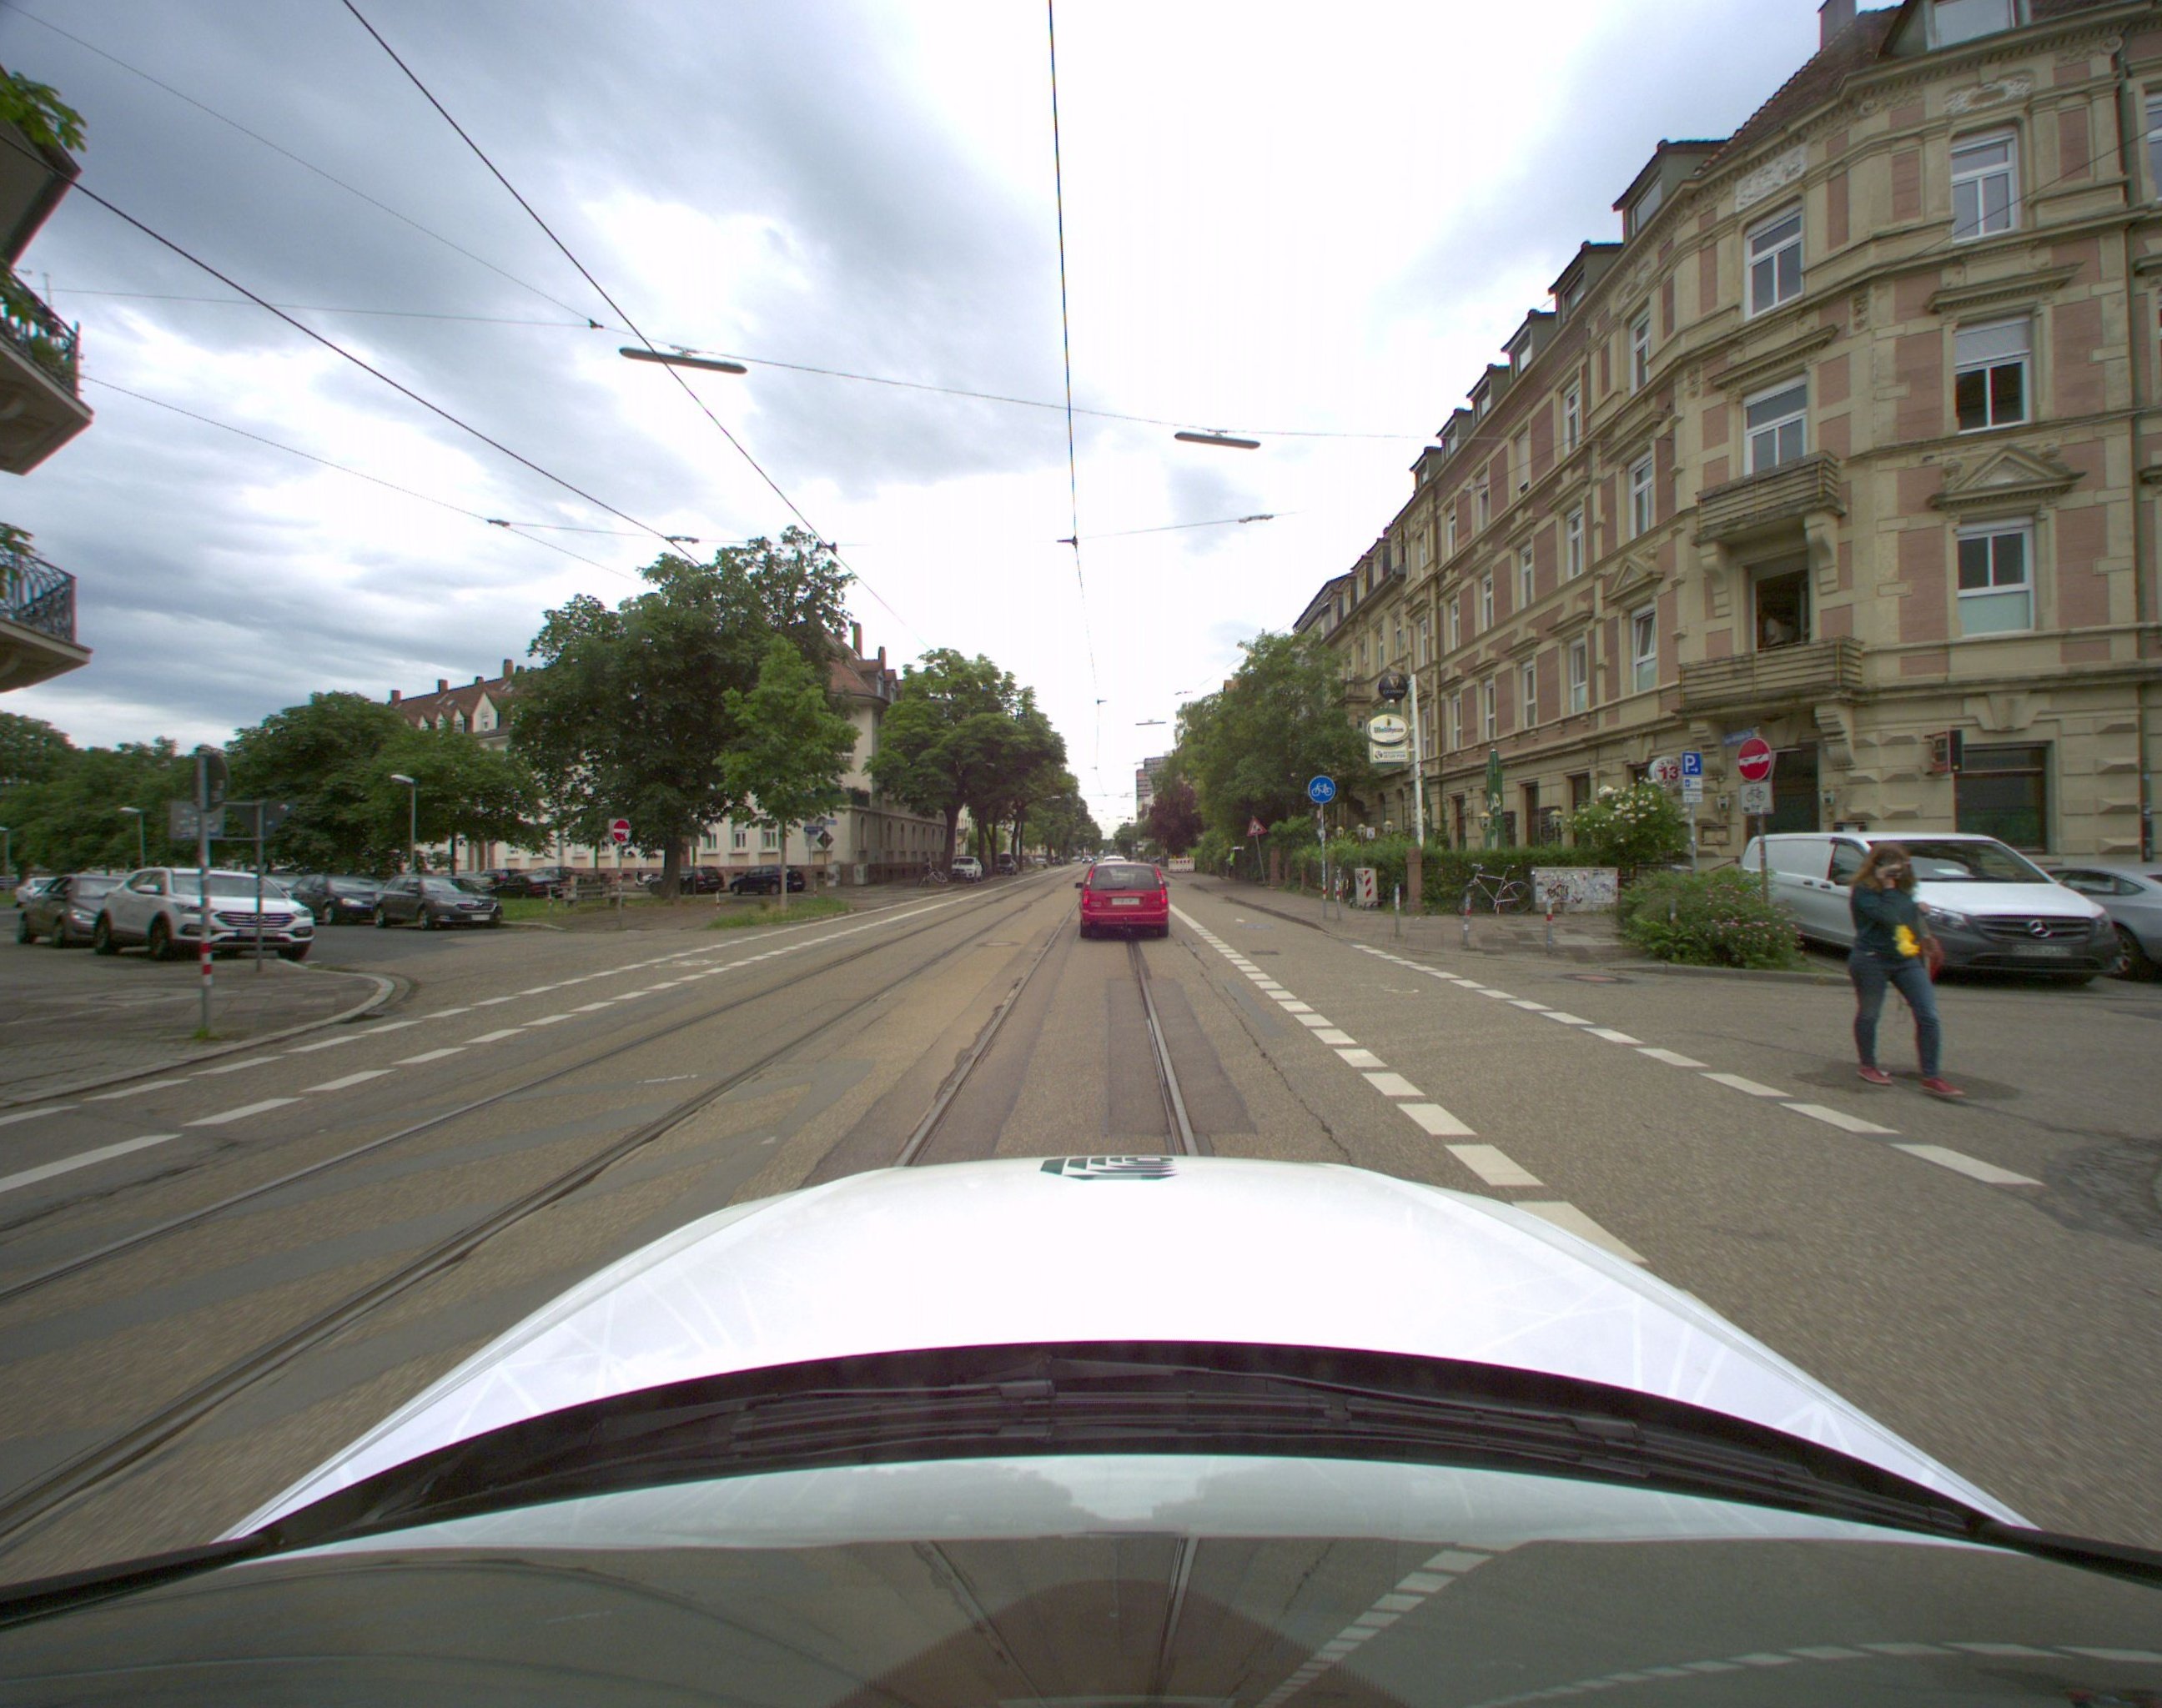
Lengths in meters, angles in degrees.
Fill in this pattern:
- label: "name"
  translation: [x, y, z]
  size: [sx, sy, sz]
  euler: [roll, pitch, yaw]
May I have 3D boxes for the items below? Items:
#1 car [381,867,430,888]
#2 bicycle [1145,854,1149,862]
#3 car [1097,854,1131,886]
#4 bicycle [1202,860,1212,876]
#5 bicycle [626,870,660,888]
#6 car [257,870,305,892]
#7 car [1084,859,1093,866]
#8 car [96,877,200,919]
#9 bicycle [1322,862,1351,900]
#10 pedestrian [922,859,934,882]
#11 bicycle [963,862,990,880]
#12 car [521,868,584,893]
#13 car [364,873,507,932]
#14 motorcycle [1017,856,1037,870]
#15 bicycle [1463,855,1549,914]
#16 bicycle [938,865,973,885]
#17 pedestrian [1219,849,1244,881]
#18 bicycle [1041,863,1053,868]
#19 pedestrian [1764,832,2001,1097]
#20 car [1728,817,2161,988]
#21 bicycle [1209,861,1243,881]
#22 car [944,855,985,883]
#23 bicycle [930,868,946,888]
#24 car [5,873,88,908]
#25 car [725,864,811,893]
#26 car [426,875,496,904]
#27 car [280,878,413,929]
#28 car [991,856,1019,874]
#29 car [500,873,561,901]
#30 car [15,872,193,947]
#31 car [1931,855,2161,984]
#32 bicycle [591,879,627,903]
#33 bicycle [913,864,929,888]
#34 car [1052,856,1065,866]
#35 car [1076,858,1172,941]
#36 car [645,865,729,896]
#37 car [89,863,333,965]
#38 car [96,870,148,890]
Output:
- label: "car"
  translation: [-46.215, 1.603, 55.704]
  size: [3.270, 1.430, 1.397]
  euler: [-1, 0, 28]
- label: "bicycle"
  translation: [11.940, 0.658, 147.440]
  size: [0.549, 1.400, 1.735]
  euler: [-1, 0, 2]
- label: "car"
  translation: [1.801, 0.851, 43.968]
  size: [1.711, 1.625, 3.945]
  euler: [-1, 0, 4]
- label: "bicycle"
  translation: [8.453, 0.908, 54.723]
  size: [0.477, 1.045, 1.532]
  euler: [-1, 0, 2]
- label: "bicycle"
  translation: [-25.841, 1.464, 48.029]
  size: [2.163, 1.035, 0.657]
  euler: [-1, 0, 28]
- label: "car"
  translation: [-51.147, 1.703, 52.047]
  size: [3.079, 1.390, 1.302]
  euler: [-1, 0, 28]
- label: "car"
  translation: [1.553, 1.764, 162.523]
  size: [1.749, 1.380, 4.027]
  euler: [-1, 0, 1]
- label: "car"
  translation: [-37.864, 1.763, 33.030]
  size: [4.136, 1.552, 1.814]
  euler: [-1, 0, 28]
- label: "bicycle"
  translation: [7.462, 0.763, 23.831]
  size: [0.300, 1.041, 1.849]
  euler: [-1, 0, 2]
- label: "pedestrian"
  translation: [-10.003, 1.073, 53.278]
  size: [0.562, 1.467, 0.723]
  euler: [-1, 0, 2]
- label: "bicycle"
  translation: [-7.244, 1.165, 56.530]
  size: [1.730, 1.192, 0.655]
  euler: [1, 0, 16]
- label: "car"
  translation: [-31.491, 1.561, 48.515]
  size: [3.455, 1.441, 1.685]
  euler: [-1, 0, 28]
- label: "car"
  translation: [-17.440, 1.245, 21.980]
  size: [4.018, 1.410, 1.672]
  euler: [0, 0, 30]
- label: "motorcycle"
  translation: [-6.104, 1.033, 92.030]
  size: [2.243, 1.511, 0.932]
  euler: [-1, -2, 37]
- label: "bicycle"
  translation: [9.361, 0.662, 17.988]
  size: [1.593, 1.277, 0.515]
  euler: [-1, 0, 13]
- label: "bicycle"
  translation: [-7.264, 1.219, 47.108]
  size: [1.915, 1.121, 0.624]
  euler: [1, 0, 1]
- label: "pedestrian"
  translation: [8.420, 0.623, 45.531]
  size: [1.224, 1.733, 1.018]
  euler: [-1, 0, 1]
- label: "bicycle"
  translation: [-5.055, 1.733, 122.263]
  size: [1.741, 0.844, 0.684]
  euler: [-1, 0, 2]
- label: "pedestrian"
  translation: [5.488, 0.693, 5.665]
  size: [0.865, 1.656, 0.913]
  euler: [-1, 0, 21]
- label: "car"
  translation: [11.633, 0.538, 11.645]
  size: [2.036, 1.877, 5.051]
  euler: [-1, 0, 17]
- label: "bicycle"
  translation: [8.228, 0.944, 46.195]
  size: [1.834, 1.076, 0.606]
  euler: [-1, 0, 0]
- label: "car"
  translation: [-7.245, 0.919, 51.096]
  size: [1.890, 1.655, 4.226]
  euler: [0, 0, 1]
- label: "bicycle"
  translation: [-7.316, 1.216, 41.732]
  size: [0.481, 0.958, 1.399]
  euler: [-1, 0, 4]
- label: "car"
  translation: [-50.679, 1.756, 39.888]
  size: [4.136, 1.552, 1.773]
  euler: [0, 0, 28]
- label: "car"
  translation: [-15.056, 1.192, 39.180]
  size: [3.715, 1.307, 1.751]
  euler: [-1, 0, 25]
- label: "car"
  translation: [-32.278, 1.821, 42.392]
  size: [3.948, 1.409, 1.684]
  euler: [-1, 0, 33]
- label: "car"
  translation: [-22.019, 1.425, 24.385]
  size: [3.959, 1.346, 1.675]
  euler: [0, 0, 28]
- label: "car"
  translation: [-6.495, 0.901, 69.954]
  size: [1.770, 1.511, 4.240]
  euler: [0, 0, 3]
- label: "car"
  translation: [-26.388, 1.553, 39.005]
  size: [2.929, 1.299, 1.364]
  euler: [-1, 0, 33]
- label: "car"
  translation: [-21.989, 1.177, 18.316]
  size: [3.997, 1.513, 1.748]
  euler: [0, -2, 28]
- label: "car"
  translation: [13.664, 0.762, 10.673]
  size: [1.683, 1.366, 4.017]
  euler: [-1, 1, 15]
- label: "bicycle"
  translation: [-18.850, 1.460, 32.495]
  size: [1.653, 0.925, 0.451]
  euler: [-1, 0, 29]
- label: "bicycle"
  translation: [-8.345, 1.138, 42.362]
  size: [0.676, 1.136, 1.927]
  euler: [-1, 1, -15]
- label: "car"
  translation: [-3.798, 1.138, 137.038]
  size: [1.844, 1.563, 3.944]
  euler: [-1, 0, 2]
- label: "car"
  translation: [0.825, 0.811, 16.245]
  size: [1.683, 1.441, 3.744]
  euler: [0, 0, 2]
- label: "car"
  translation: [-20.210, 1.344, 41.773]
  size: [3.896, 1.464, 1.716]
  euler: [-1, 0, 24]
- label: "car"
  translation: [-16.561, 1.049, 15.485]
  size: [4.460, 1.663, 1.950]
  euler: [-1, 0, 26]
- label: "car"
  translation: [-79.381, 2.129, 67.418]
  size: [4.443, 1.611, 1.912]
  euler: [-1, 0, 28]
